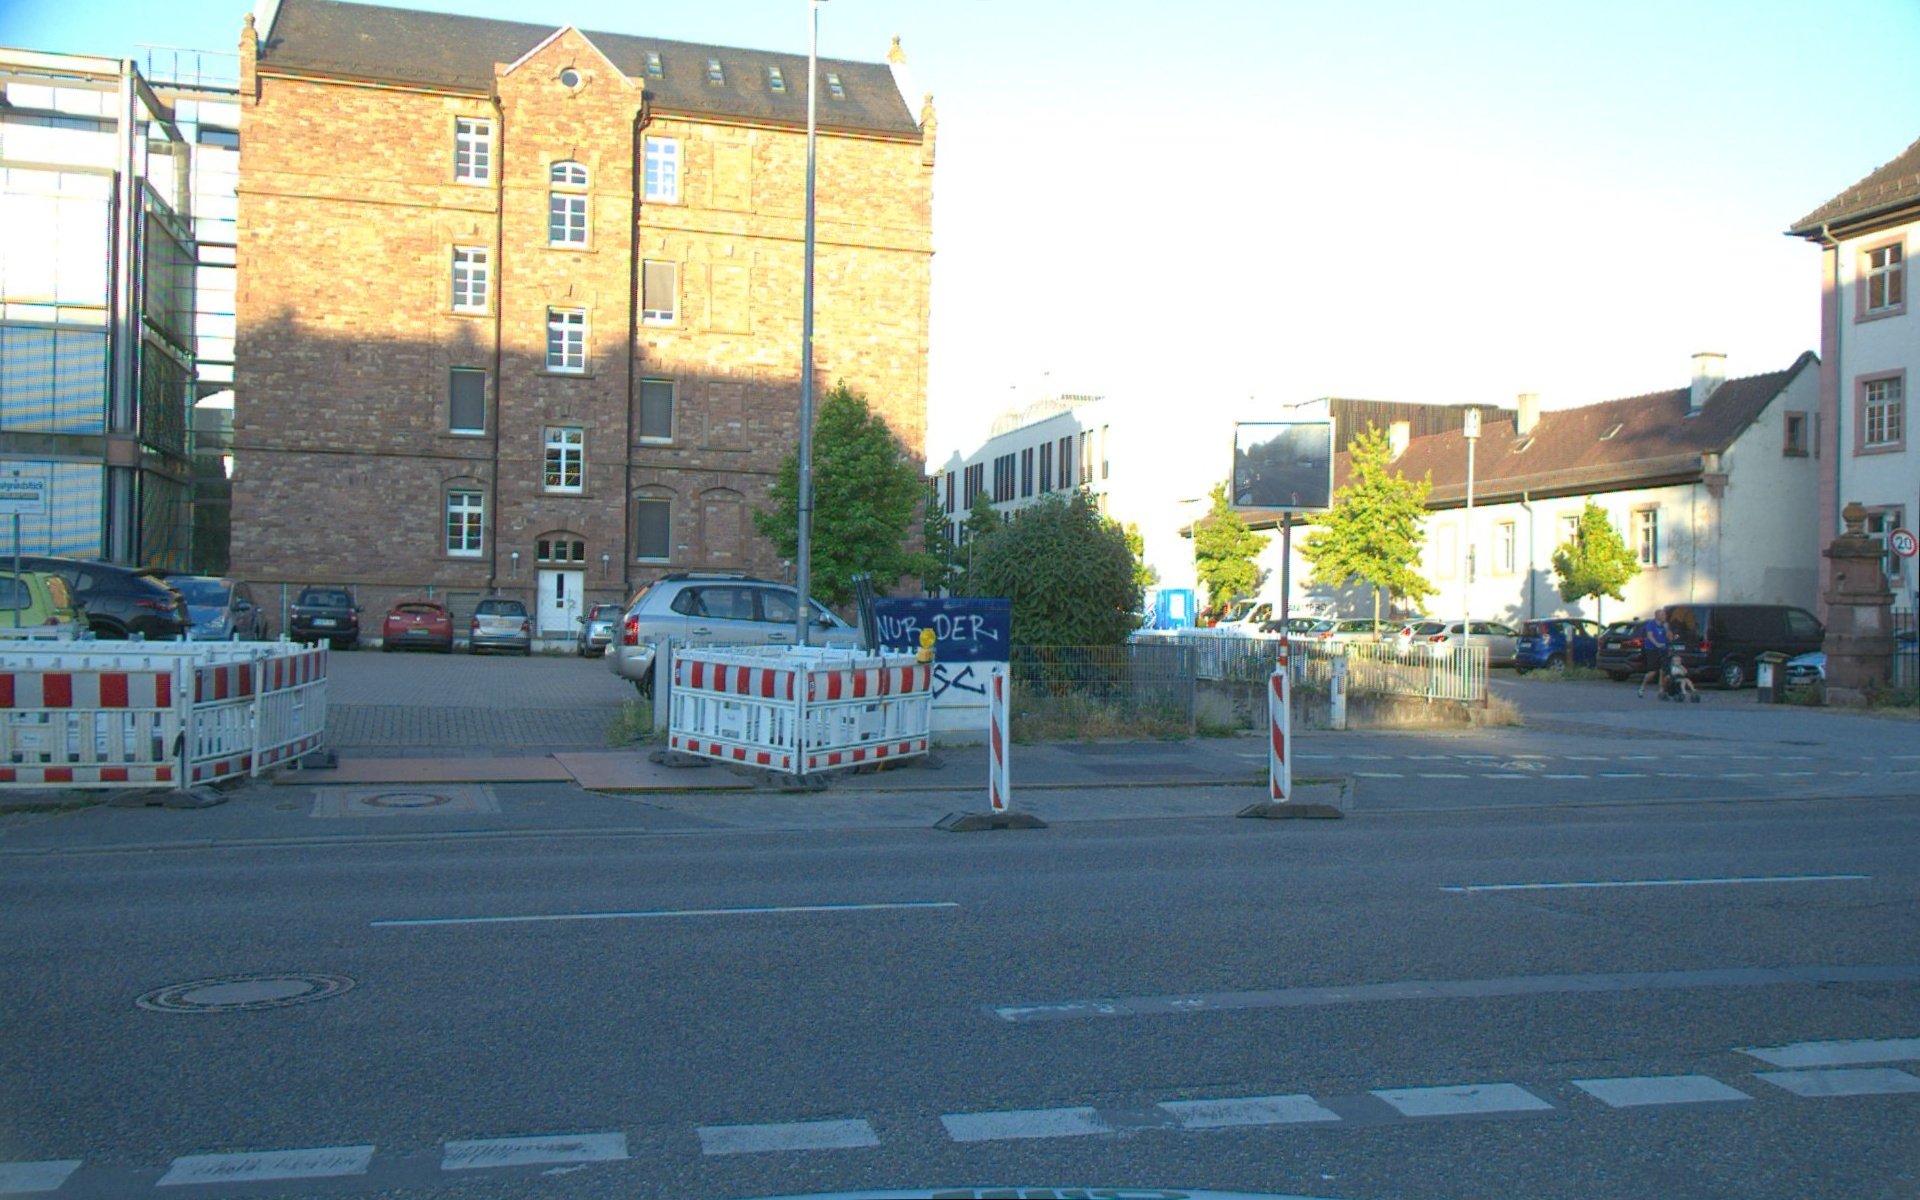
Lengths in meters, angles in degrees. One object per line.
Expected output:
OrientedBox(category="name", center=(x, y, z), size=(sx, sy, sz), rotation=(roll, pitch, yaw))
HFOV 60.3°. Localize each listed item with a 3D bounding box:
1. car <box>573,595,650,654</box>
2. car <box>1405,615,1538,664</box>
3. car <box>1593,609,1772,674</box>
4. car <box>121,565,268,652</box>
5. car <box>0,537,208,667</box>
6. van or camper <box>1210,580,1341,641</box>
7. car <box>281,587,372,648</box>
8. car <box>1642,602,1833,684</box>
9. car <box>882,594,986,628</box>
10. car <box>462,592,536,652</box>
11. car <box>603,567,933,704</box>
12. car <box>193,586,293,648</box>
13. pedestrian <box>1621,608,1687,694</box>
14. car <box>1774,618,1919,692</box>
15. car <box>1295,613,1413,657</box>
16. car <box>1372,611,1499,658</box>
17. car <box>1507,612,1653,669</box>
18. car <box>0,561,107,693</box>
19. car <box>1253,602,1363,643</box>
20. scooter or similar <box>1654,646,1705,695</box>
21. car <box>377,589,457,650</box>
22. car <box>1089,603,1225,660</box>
OrientedBox(category="car", center=(-9.903, 0.660, 46.834), size=(1.865, 1.564, 4.161), rotation=(1, 0, -16))
OrientedBox(category="car", center=(15.793, 1.215, 51.062), size=(3.685, 1.471, 1.677), rotation=(1, -1, -20))
OrientedBox(category="car", center=(18.485, 1.057, 42.331), size=(3.928, 1.600, 1.988), rotation=(1, -1, -20))
OrientedBox(category="car", center=(-15.273, 0.163, 33.212), size=(1.961, 1.604, 4.346), rotation=(1, 0, -16))
OrientedBox(category="car", center=(-12.625, 0.022, 22.033), size=(4.507, 1.666, 1.569), rotation=(1, 0, -15))
OrientedBox(category="van or camper", center=(12.342, 0.415, 64.641), size=(4.889, 2.280, 1.677), rotation=(1, -1, -20))
OrientedBox(category="car", center=(-17.151, 0.442, 44.929), size=(1.865, 1.564, 4.161), rotation=(1, 0, -16))
OrientedBox(category="car", center=(18.630, 1.026, 39.664), size=(3.928, 1.891, 1.988), rotation=(1, -1, -20))
OrientedBox(category="car", center=(-1.093, 0.450, 68.075), size=(3.924, 1.336, 1.868), rotation=(1, 0, -17))
OrientedBox(category="car", center=(-12.747, 0.576, 45.813), size=(1.865, 1.564, 4.161), rotation=(1, 0, -16))
OrientedBox(category="car", center=(-2.613, 0.468, 22.354), size=(4.202, 1.738, 1.694), rotation=(1, 0, -18))
OrientedBox(category="car", center=(-19.146, 0.432, 44.351), size=(1.865, 1.564, 4.161), rotation=(1, 0, -16))
OrientedBox(category="pedestrian", center=(13.716, 1.007, 32.707), size=(0.737, 1.671, 1.010), rotation=(1, -1, -15))
OrientedBox(category="car", center=(19.526, 1.160, 34.986), size=(3.928, 1.484, 1.988), rotation=(1, -1, -20))
OrientedBox(category="car", center=(13.675, 1.204, 57.364), size=(3.685, 1.471, 1.677), rotation=(1, -1, -20))
OrientedBox(category="car", center=(15.434, 1.127, 53.701), size=(3.685, 1.471, 1.677), rotation=(1, -1, -20))
OrientedBox(category="car", center=(17.473, 1.141, 46.640), size=(3.685, 1.556, 1.677), rotation=(1, -1, -20))
OrientedBox(category="car", center=(-12.348, 0.306, 19.704), size=(3.571, 1.530, 1.631), rotation=(1, 0, -15))
OrientedBox(category="car", center=(12.913, 0.848, 61.372), size=(3.685, 1.471, 1.677), rotation=(1, -1, -20))
OrientedBox(category="scooter or similar", center=(13.823, 1.354, 31.776), size=(0.505, 0.906, 0.803), rotation=(1, -1, -16))
OrientedBox(category="car", center=(-14.836, 0.512, 45.384), size=(1.865, 1.564, 4.161), rotation=(1, 0, -16))
OrientedBox(category="car", center=(5.877, 0.924, 49.321), size=(3.685, 1.631, 1.677), rotation=(1, 0, -20))
